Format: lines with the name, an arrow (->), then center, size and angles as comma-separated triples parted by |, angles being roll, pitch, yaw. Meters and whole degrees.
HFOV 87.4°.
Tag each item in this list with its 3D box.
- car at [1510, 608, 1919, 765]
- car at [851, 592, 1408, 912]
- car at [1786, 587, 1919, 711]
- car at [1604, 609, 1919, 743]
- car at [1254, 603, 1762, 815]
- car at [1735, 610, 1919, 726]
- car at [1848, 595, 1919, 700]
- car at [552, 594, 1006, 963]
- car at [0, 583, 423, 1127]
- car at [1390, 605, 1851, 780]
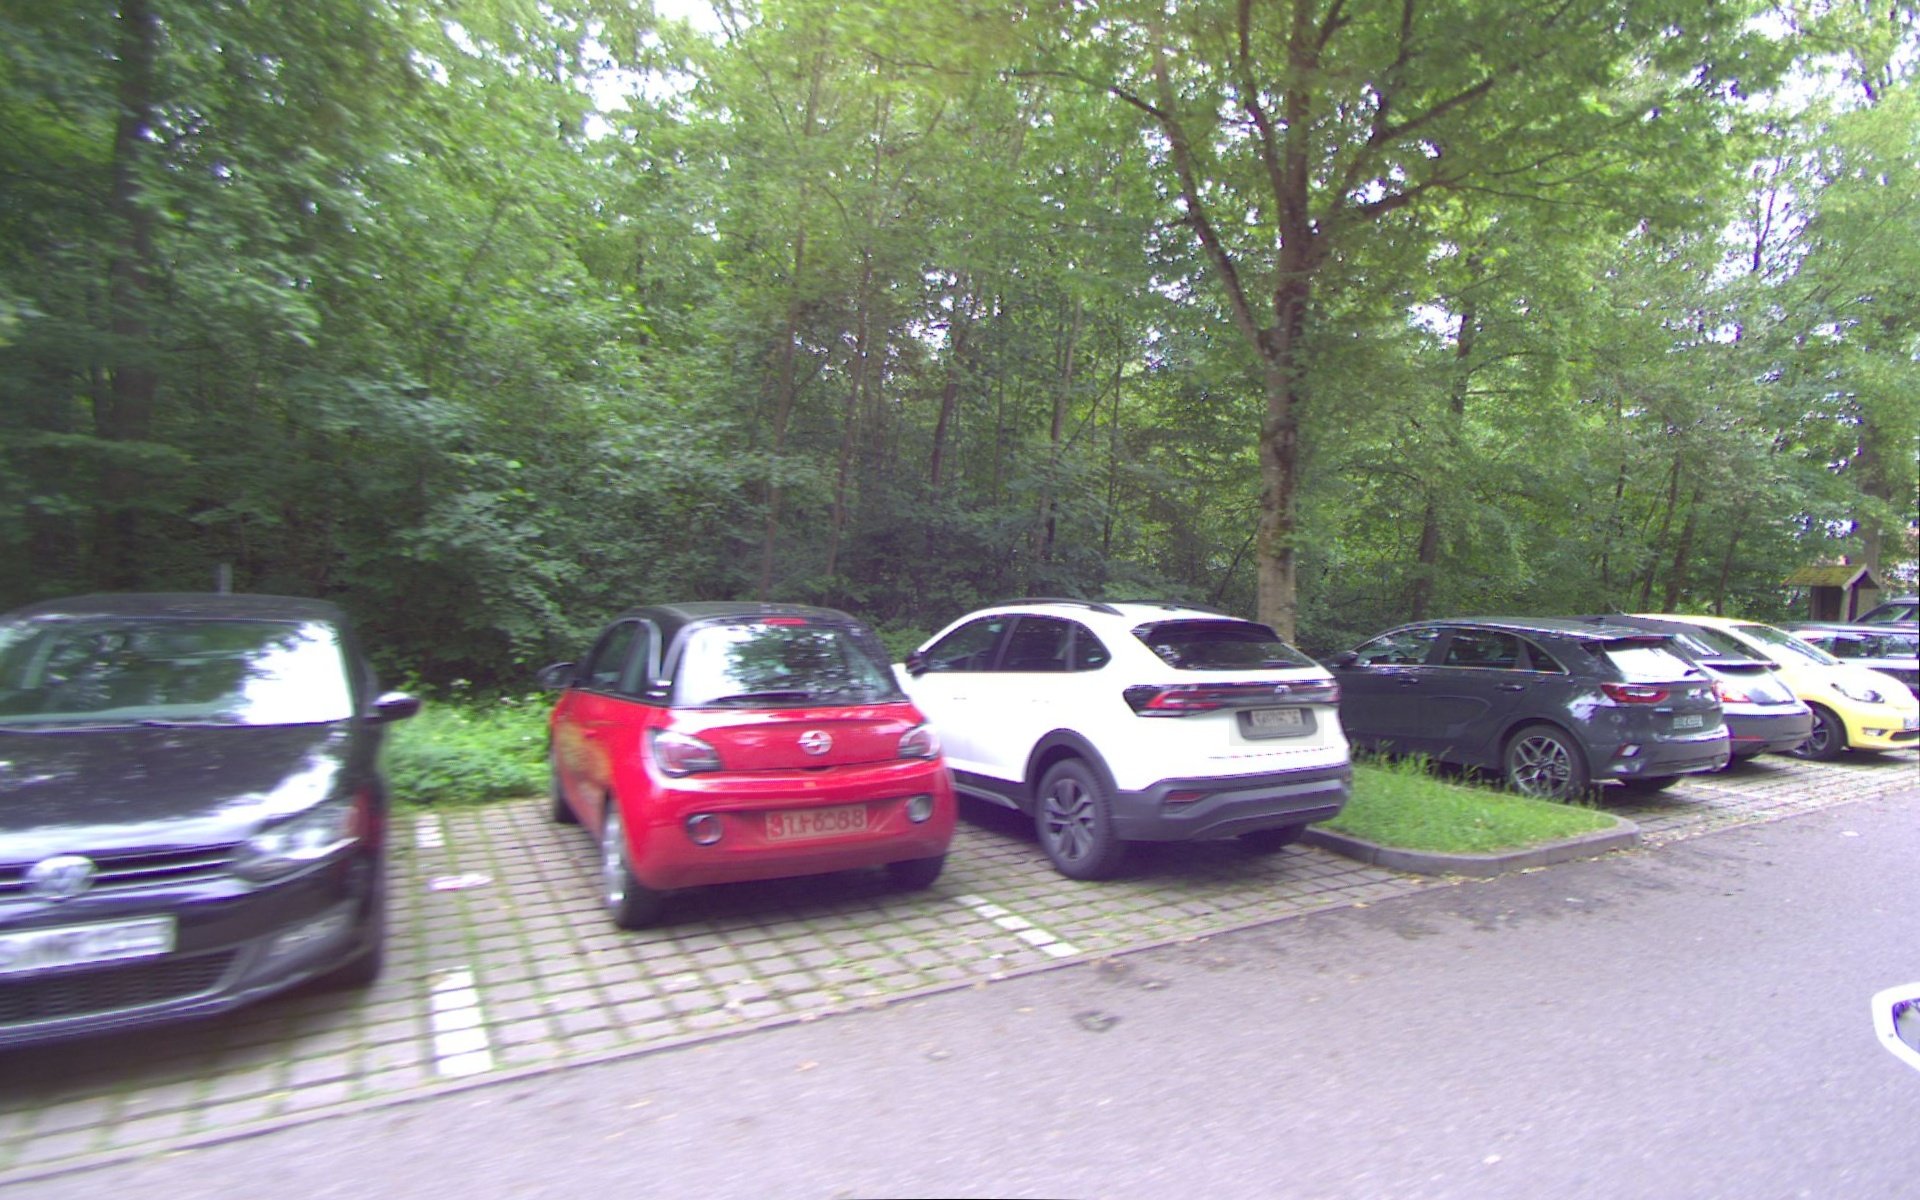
car -> 9.147, 0.899, 12.315 | 1.598, 1.457, 3.968 | 1, 1, -29
car -> 0.819, 0.735, 7.004 | 1.695, 1.487, 3.968 | 1, 1, -30
car -> 15.695, 0.785, 15.636 | 1.792, 1.887, 3.968 | 1, 1, -30
car -> 11.201, 0.922, 13.476 | 1.653, 1.457, 3.965 | 1, 1, -32
car -> 4.927, 0.833, 9.639 | 1.694, 1.457, 3.968 | 1, 1, -29
car -> 13.748, 0.970, 14.252 | 1.760, 1.496, 3.965 | 1, 1, -31
car -> 17.781, 0.868, 16.838 | 1.803, 1.789, 3.966 | 1, 1, -31
car -> -1.441, 0.733, 6.275 | 1.681, 1.455, 3.971 | 1, 1, -28
car -> -3.421, 0.679, 4.567 | 1.656, 1.455, 3.971 | 1, 1, -28
car -> 7.107, 0.859, 11.265 | 1.713, 1.457, 3.968 | 1, 1, -29
